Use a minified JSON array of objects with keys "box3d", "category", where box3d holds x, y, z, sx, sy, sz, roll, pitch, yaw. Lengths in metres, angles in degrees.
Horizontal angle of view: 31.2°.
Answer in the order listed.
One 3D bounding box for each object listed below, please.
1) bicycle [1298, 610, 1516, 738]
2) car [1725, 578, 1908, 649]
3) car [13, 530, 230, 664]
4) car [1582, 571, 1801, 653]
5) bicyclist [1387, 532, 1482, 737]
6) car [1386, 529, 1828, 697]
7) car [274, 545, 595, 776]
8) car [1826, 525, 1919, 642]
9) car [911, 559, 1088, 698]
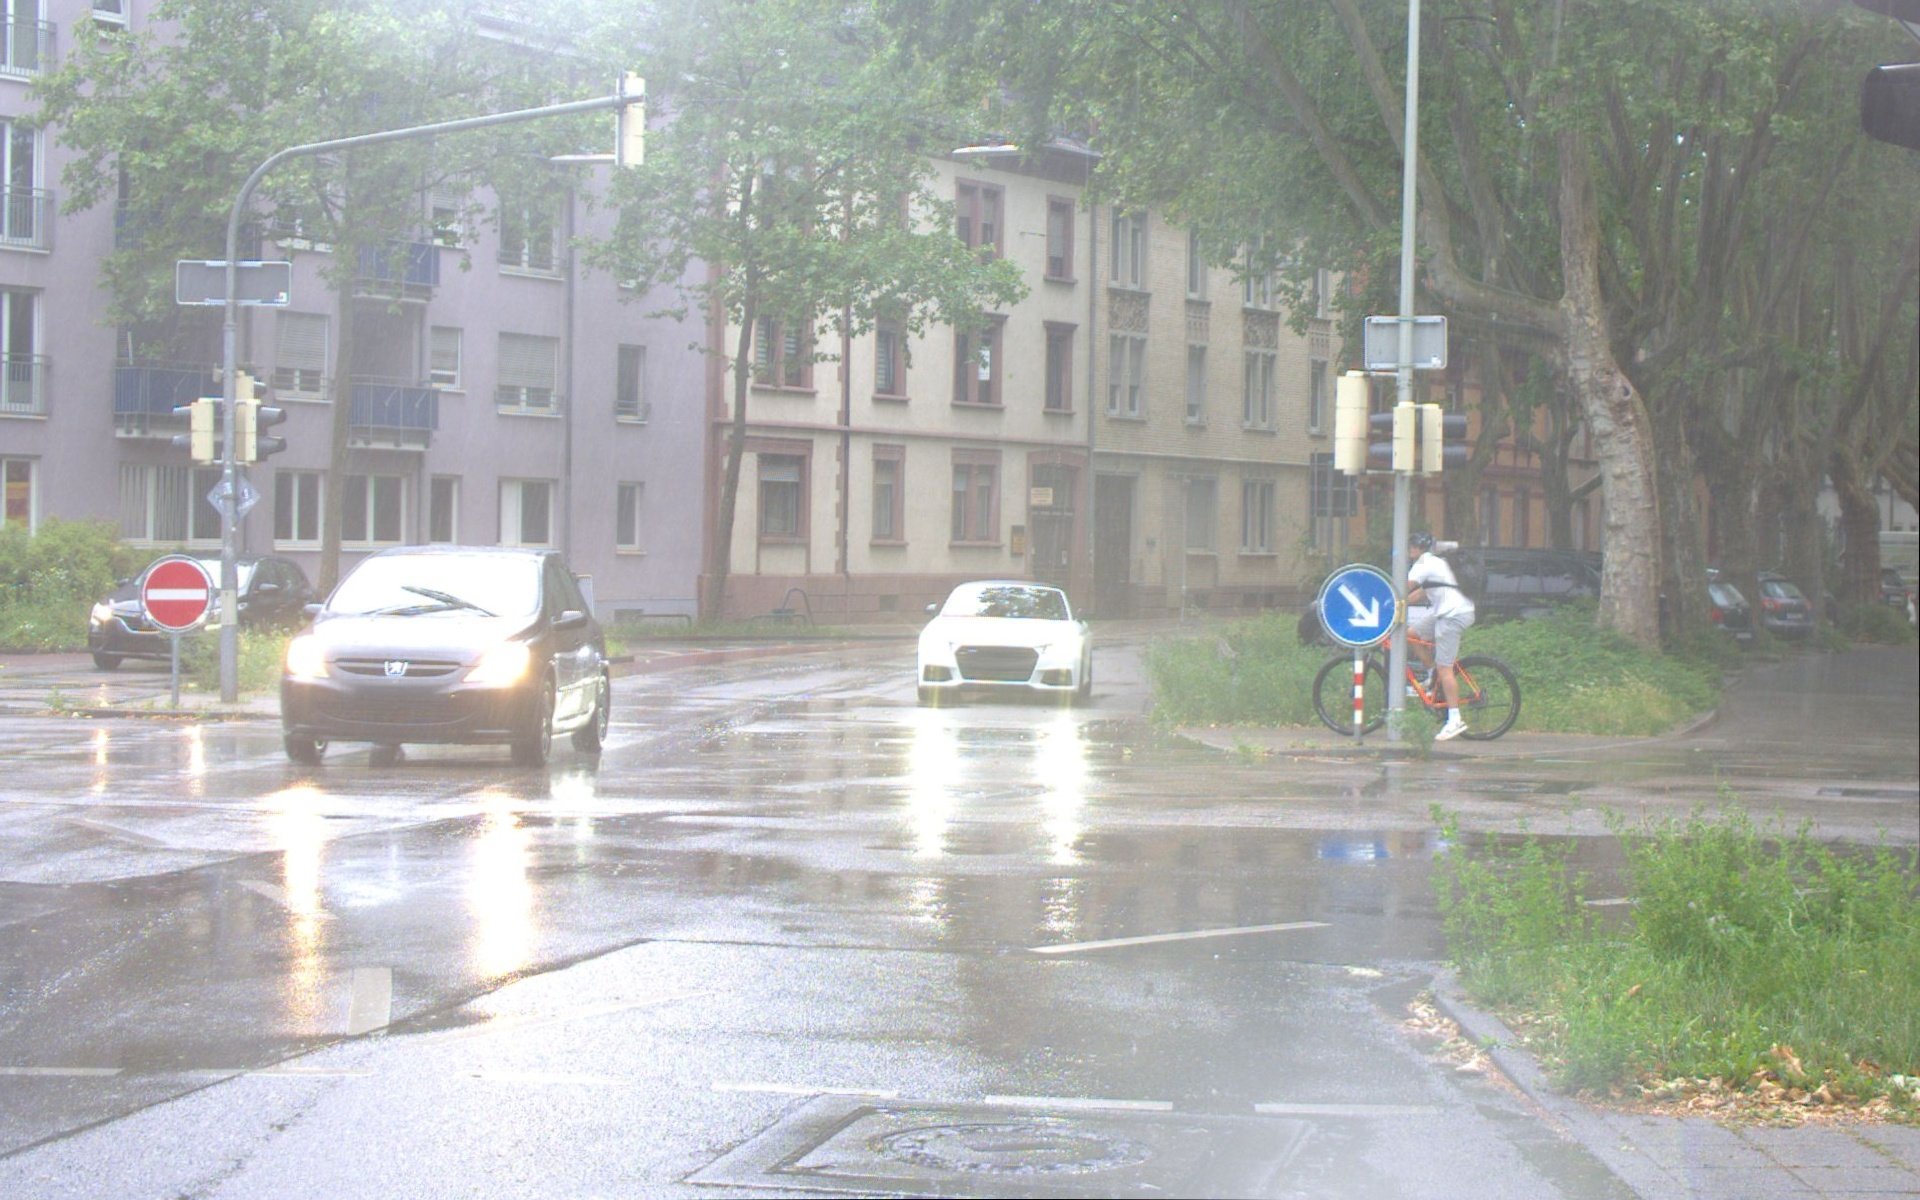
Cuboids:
[{"box3d":[3.950,0.645,30.390,1.873,1.077,0.657,1,0,8],"category":"bicycle"},{"box3d":[19.565,0.301,78.649,3.989,1.542,1.999,1,1,12],"category":"car"},{"box3d":[-10.055,-0.066,41.491,1.751,1.506,3.839,1,1,-2],"category":"car"},{"box3d":[13.921,0.210,65.473,3.989,1.481,1.999,1,1,12],"category":"car"},{"box3d":[4.189,0.297,30.357,0.795,1.780,0.697,1,0,8],"category":"bicyclist"},{"box3d":[6.160,0.102,32.698,3.989,1.481,1.999,1,1,12],"category":"car"},{"box3d":[-3.555,0.367,23.832,1.714,1.454,3.748,1,1,-1],"category":"car"},{"box3d":[24.385,-0.422,87.710,2.033,2.938,4.773,1,1,-21],"category":"car"},{"box3d":[0.478,0.283,39.112,1.884,1.431,4.000,1,1,1],"category":"car"}]
